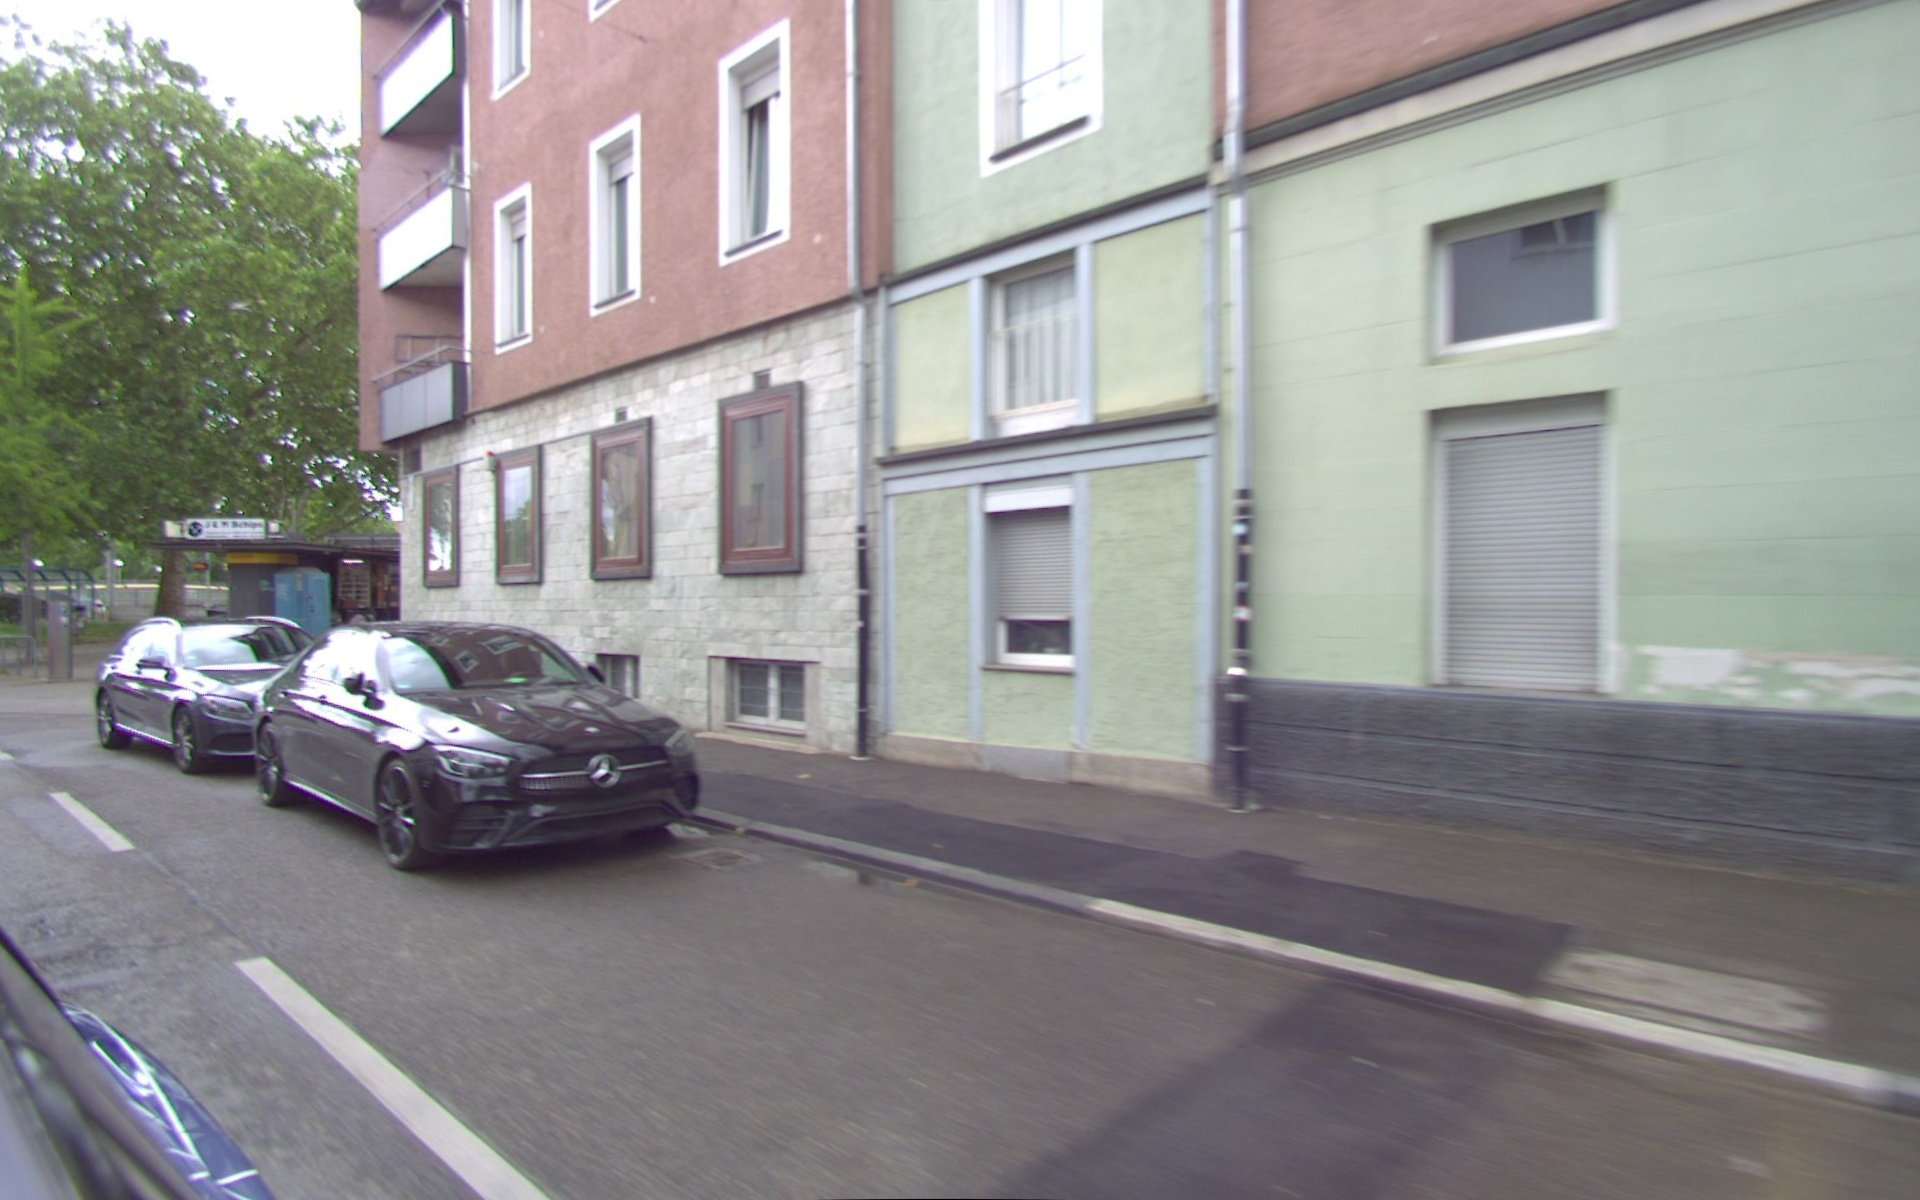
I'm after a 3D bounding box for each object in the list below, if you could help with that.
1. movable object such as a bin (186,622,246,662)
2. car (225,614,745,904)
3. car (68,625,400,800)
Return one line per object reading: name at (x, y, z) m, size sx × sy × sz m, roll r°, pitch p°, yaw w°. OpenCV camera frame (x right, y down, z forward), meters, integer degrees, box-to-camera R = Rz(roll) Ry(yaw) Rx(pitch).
movable object such as a bin at (-20.039, 1.113, 27.264) m, size 1.064 × 0.971 × 0.673 m, roll -2°, pitch 3°, yaw -1°
car at (-3.823, 0.860, 7.600) m, size 4.920 × 1.466 × 1.809 m, roll 0°, pitch 0°, yaw 42°
car at (-8.051, 1.042, 11.057) m, size 4.579 × 1.466 × 1.811 m, roll 0°, pitch 0°, yaw 39°
